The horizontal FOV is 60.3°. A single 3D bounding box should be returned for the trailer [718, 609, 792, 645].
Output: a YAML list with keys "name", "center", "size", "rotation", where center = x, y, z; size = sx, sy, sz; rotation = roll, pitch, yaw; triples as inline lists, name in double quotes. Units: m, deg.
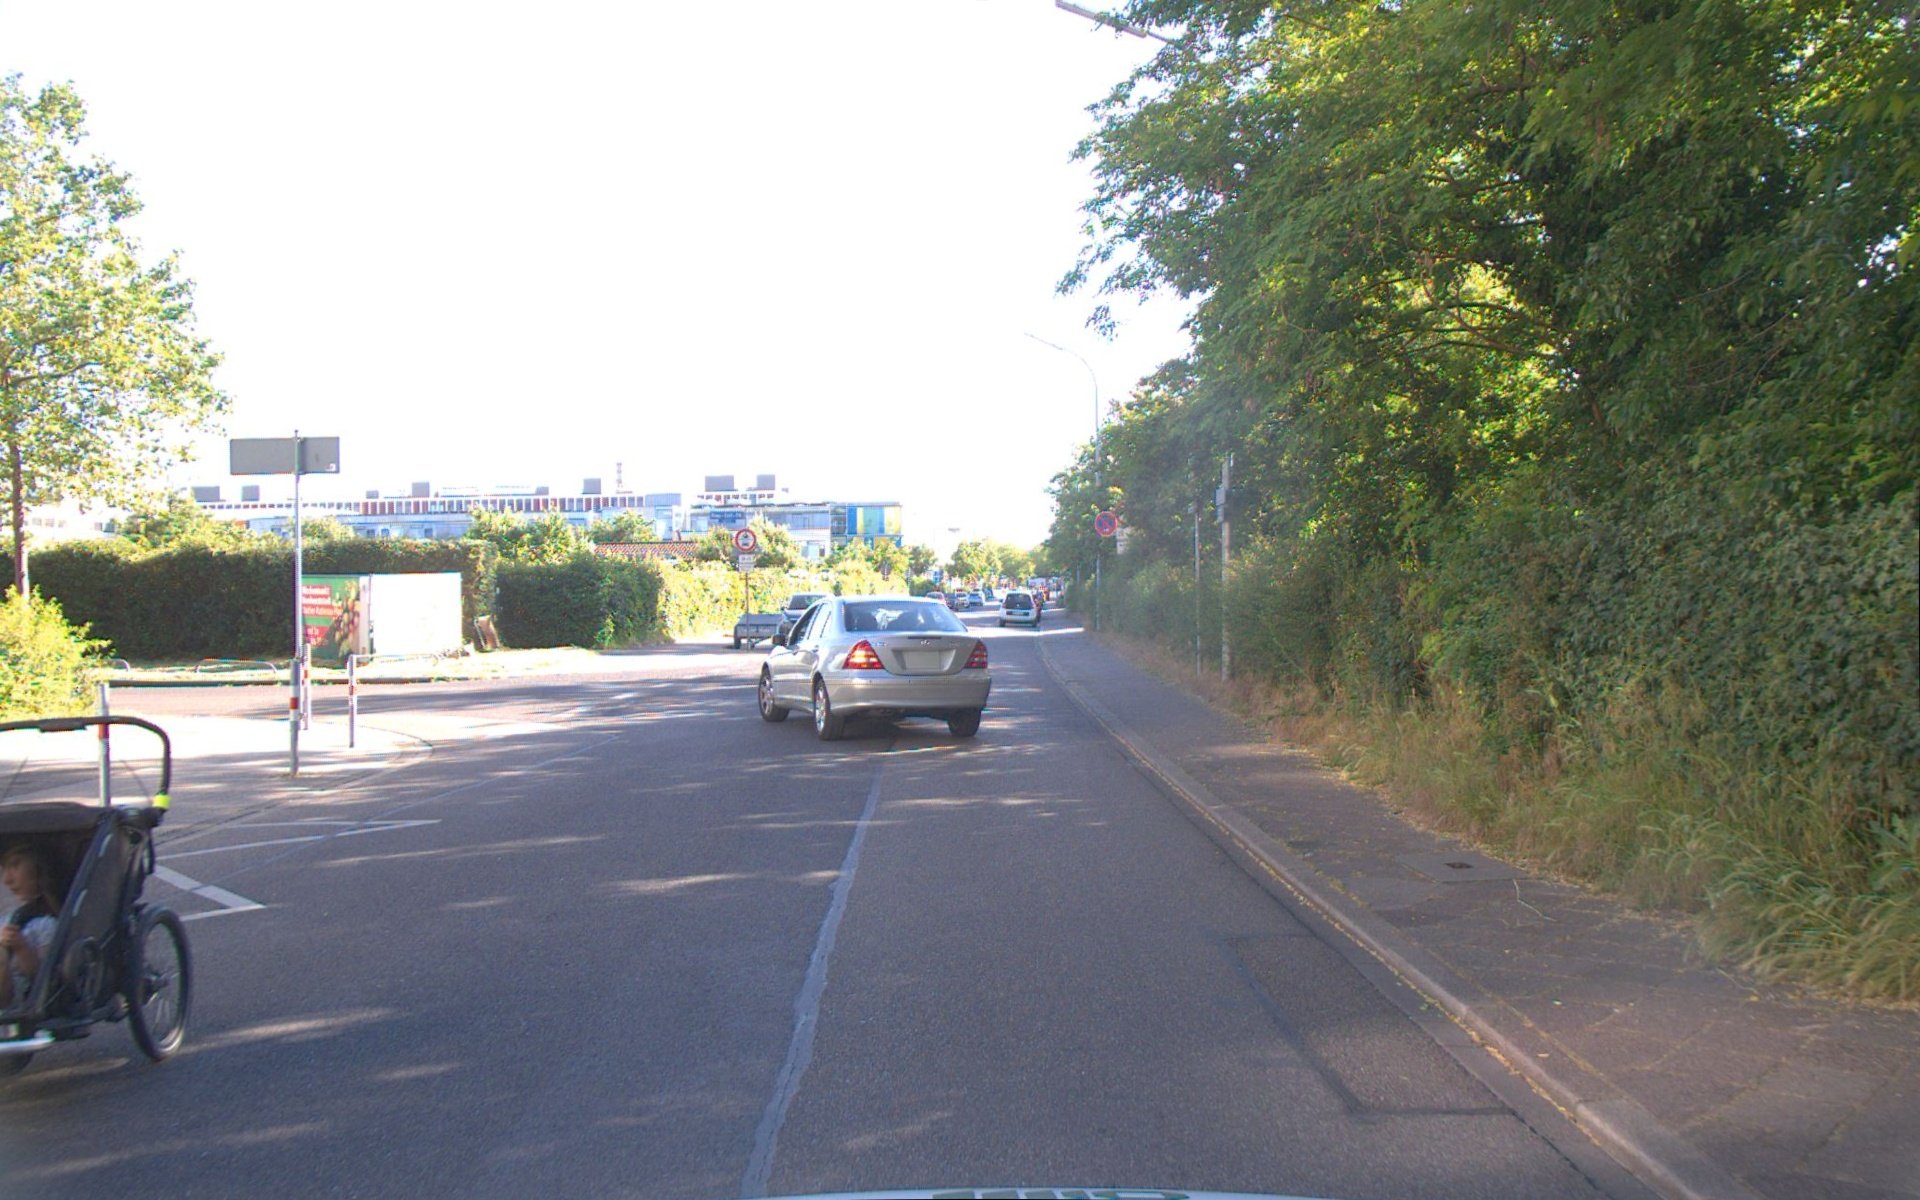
- name: "trailer"
  center: [-5.713, 0.736, 46.339]
  size: [1.511, 0.970, 2.649]
  rotation: [0, 0, 5]

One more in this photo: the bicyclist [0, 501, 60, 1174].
- name: "bicyclist"
  center: [-2.828, 0.603, 3.879]
  size: [0.827, 1.687, 1.064]
  rotation: [-1, 0, -1]

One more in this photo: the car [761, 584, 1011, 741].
- name: "car"
  center: [-0.919, 0.582, 17.862]
  size: [1.710, 1.478, 3.979]
  rotation: [0, 0, -18]

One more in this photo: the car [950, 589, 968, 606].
- name: "car"
  center: [-0.089, -0.213, 156.263]
  size: [1.527, 1.521, 3.760]
  rotation: [-2, 0, 3]

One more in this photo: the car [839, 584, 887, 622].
- name: "car"
  center: [-4.275, 0.133, 73.536]
  size: [1.609, 1.583, 4.419]
  rotation: [-2, 0, 3]

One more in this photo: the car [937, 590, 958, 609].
- name: "car"
  center: [-1.017, -0.066, 139.236]
  size: [1.527, 1.521, 3.572]
  rotation: [1, 0, 3]

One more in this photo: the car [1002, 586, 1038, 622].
- name: "car"
  center: [2.696, 0.165, 74.032]
  size: [1.523, 1.565, 3.557]
  rotation: [1, 0, 3]

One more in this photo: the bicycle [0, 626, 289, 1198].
- name: "bicycle"
  center: [-2.849, 0.816, 4.374]
  size: [0.834, 1.394, 3.220]
  rotation: [-2, 0, -1]

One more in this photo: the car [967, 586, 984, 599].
- name: "car"
  center: [1.765, -0.822, 185.567]
  size: [1.816, 1.453, 4.135]
  rotation: [0, 0, 3]

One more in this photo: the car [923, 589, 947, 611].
- name: "car"
  center: [-1.826, -0.009, 120.937]
  size: [1.527, 1.521, 3.572]
  rotation: [-2, 0, 3]

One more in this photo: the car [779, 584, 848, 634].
- name: "car"
  center: [-4.953, 0.269, 56.300]
  size: [1.609, 1.628, 4.314]
  rotation: [0, 0, 5]
